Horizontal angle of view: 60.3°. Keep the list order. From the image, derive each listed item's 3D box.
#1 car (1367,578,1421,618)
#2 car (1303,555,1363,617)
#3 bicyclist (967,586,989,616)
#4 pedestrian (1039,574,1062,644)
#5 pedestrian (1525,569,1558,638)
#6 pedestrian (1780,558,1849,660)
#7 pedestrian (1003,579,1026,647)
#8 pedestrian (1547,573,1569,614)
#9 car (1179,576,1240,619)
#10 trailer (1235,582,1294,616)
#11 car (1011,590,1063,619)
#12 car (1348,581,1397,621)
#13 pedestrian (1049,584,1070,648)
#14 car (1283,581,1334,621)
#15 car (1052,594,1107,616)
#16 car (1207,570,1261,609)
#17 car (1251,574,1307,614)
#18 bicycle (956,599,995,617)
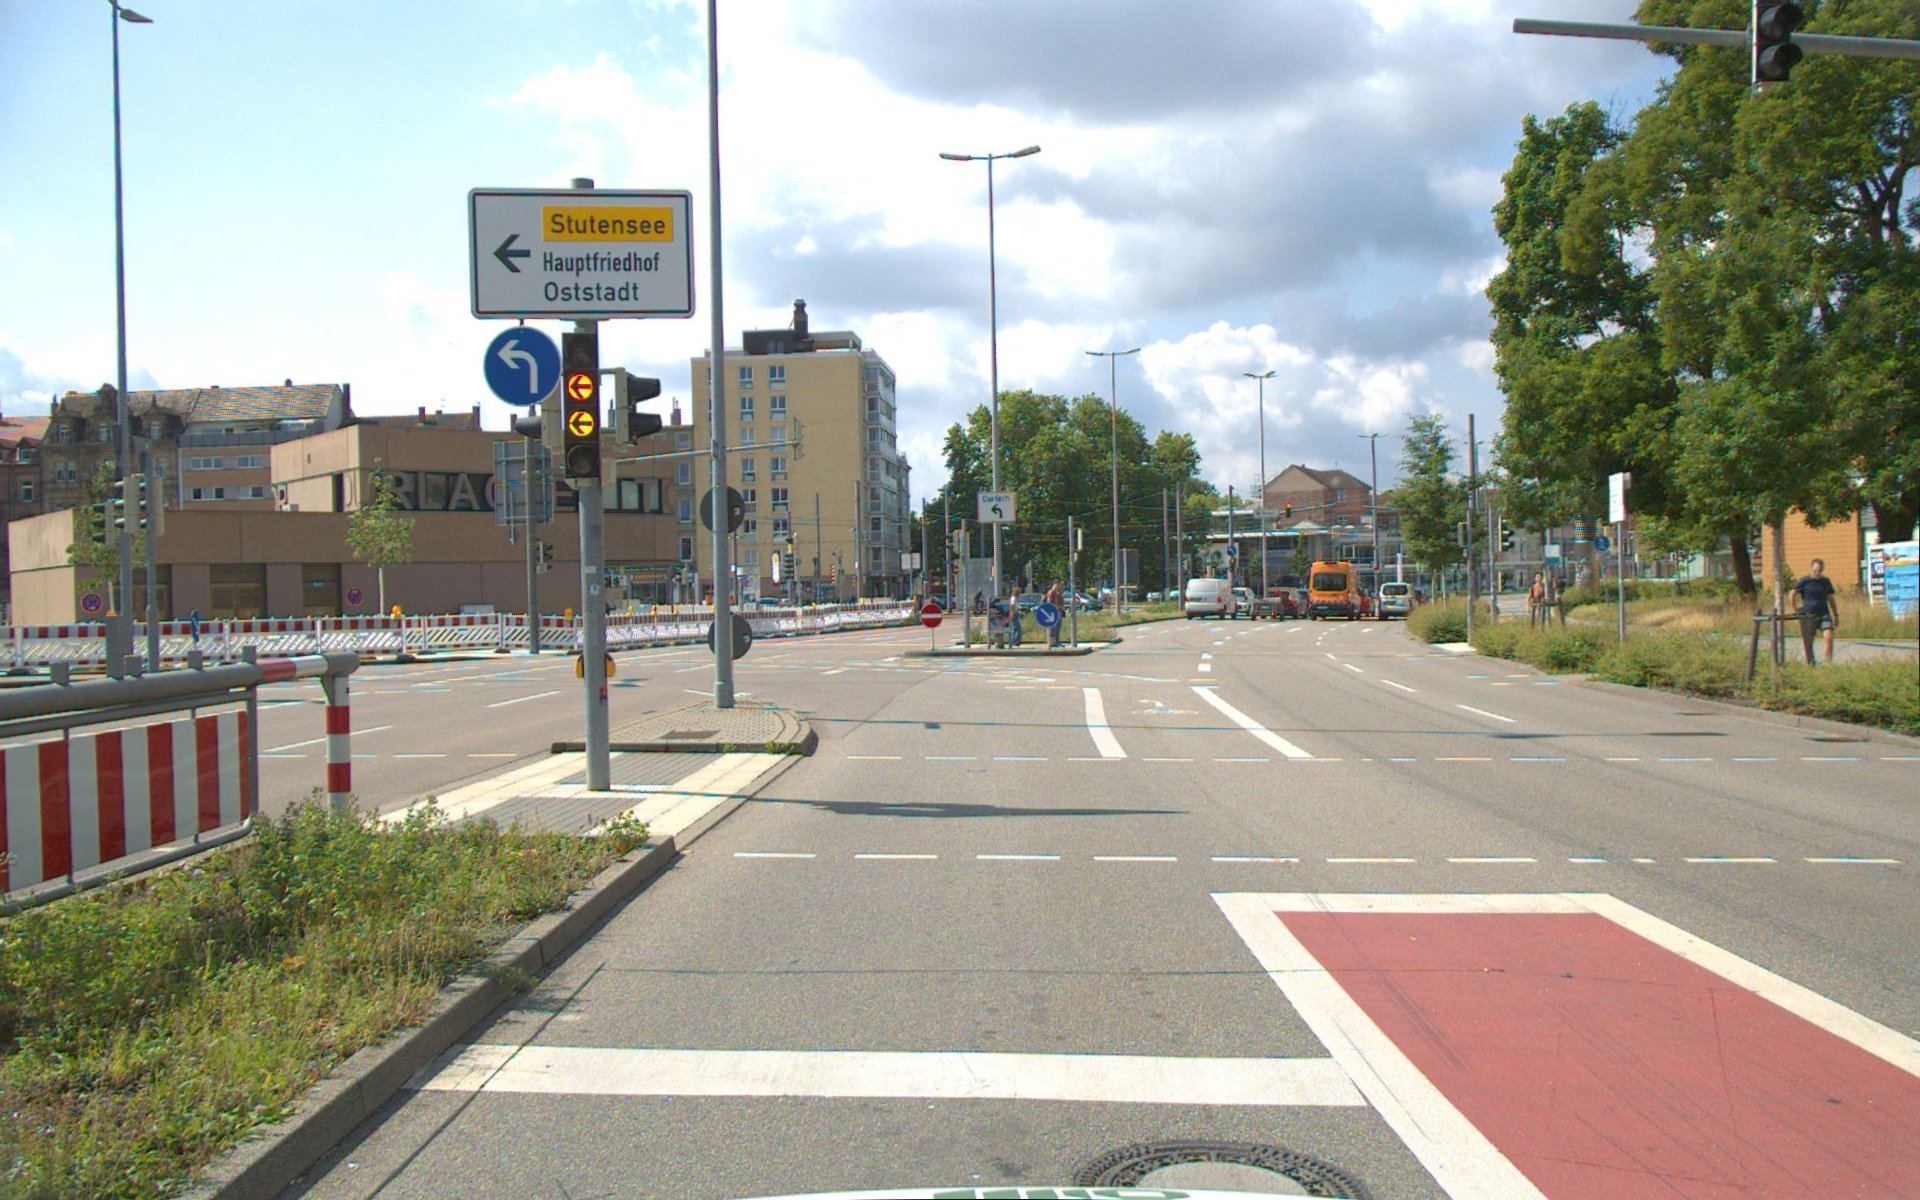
[{"bbox_3d":[20.946,-0.122,79.711,1.953,1.826,3.999,-2,0,23],"label":"car"},{"bbox_3d":[17.939,-0.661,79.503,2.086,2.829,4.639,-2,0,21],"label":"car"},{"bbox_3d":[1.161,0.056,106.456,1.194,1.943,0.859,-1,0,18],"label":"bicyclist"},{"bbox_3d":[2.340,0.226,42.616,0.513,1.764,0.624,-1,0,7],"label":"pedestrian"},{"bbox_3d":[15.027,0.086,42.739,0.646,1.764,0.578,-1,0,6],"label":"pedestrian"},{"bbox_3d":[13.106,0.129,25.381,0.754,1.534,0.552,-1,0,2],"label":"pedestrian"},{"bbox_3d":[1.438,0.335,43.766,0.513,1.764,0.624,-1,0,7],"label":"pedestrian"},{"bbox_3d":[26.635,-0.288,73.641,0.774,1.815,0.665,-1,0,34],"label":"pedestrian"},{"bbox_3d":[12.343,-0.142,81.576,1.964,2.001,4.639,-2,0,21],"label":"car"},{"bbox_3d":[14.610,-0.078,79.129,1.953,1.503,4.000,-2,0,22],"label":"trailer"},{"bbox_3d":[4.010,0.211,85.650,1.754,1.412,4.230,-1,0,16],"label":"car"},{"bbox_3d":[21.857,0.025,87.502,1.950,1.972,4.639,-2,0,21],"label":"car"},{"bbox_3d":[2.705,0.428,44.920,0.513,1.713,0.624,-1,0,7],"label":"pedestrian"},{"bbox_3d":[18.710,0.033,88.634,1.950,1.972,4.639,-2,0,21],"label":"car"},{"bbox_3d":[8.763,0.355,121.314,1.653,1.506,3.999,1,1,-42],"label":"car"},{"bbox_3d":[14.832,-0.580,89.335,1.950,1.972,4.639,-2,0,21],"label":"car"},{"bbox_3d":[15.921,-0.304,82.389,1.953,1.858,4.000,-2,0,22],"label":"car"},{"bbox_3d":[0.983,0.493,106.514,2.329,1.085,0.859,-1,0,18],"label":"bicycle"}]
